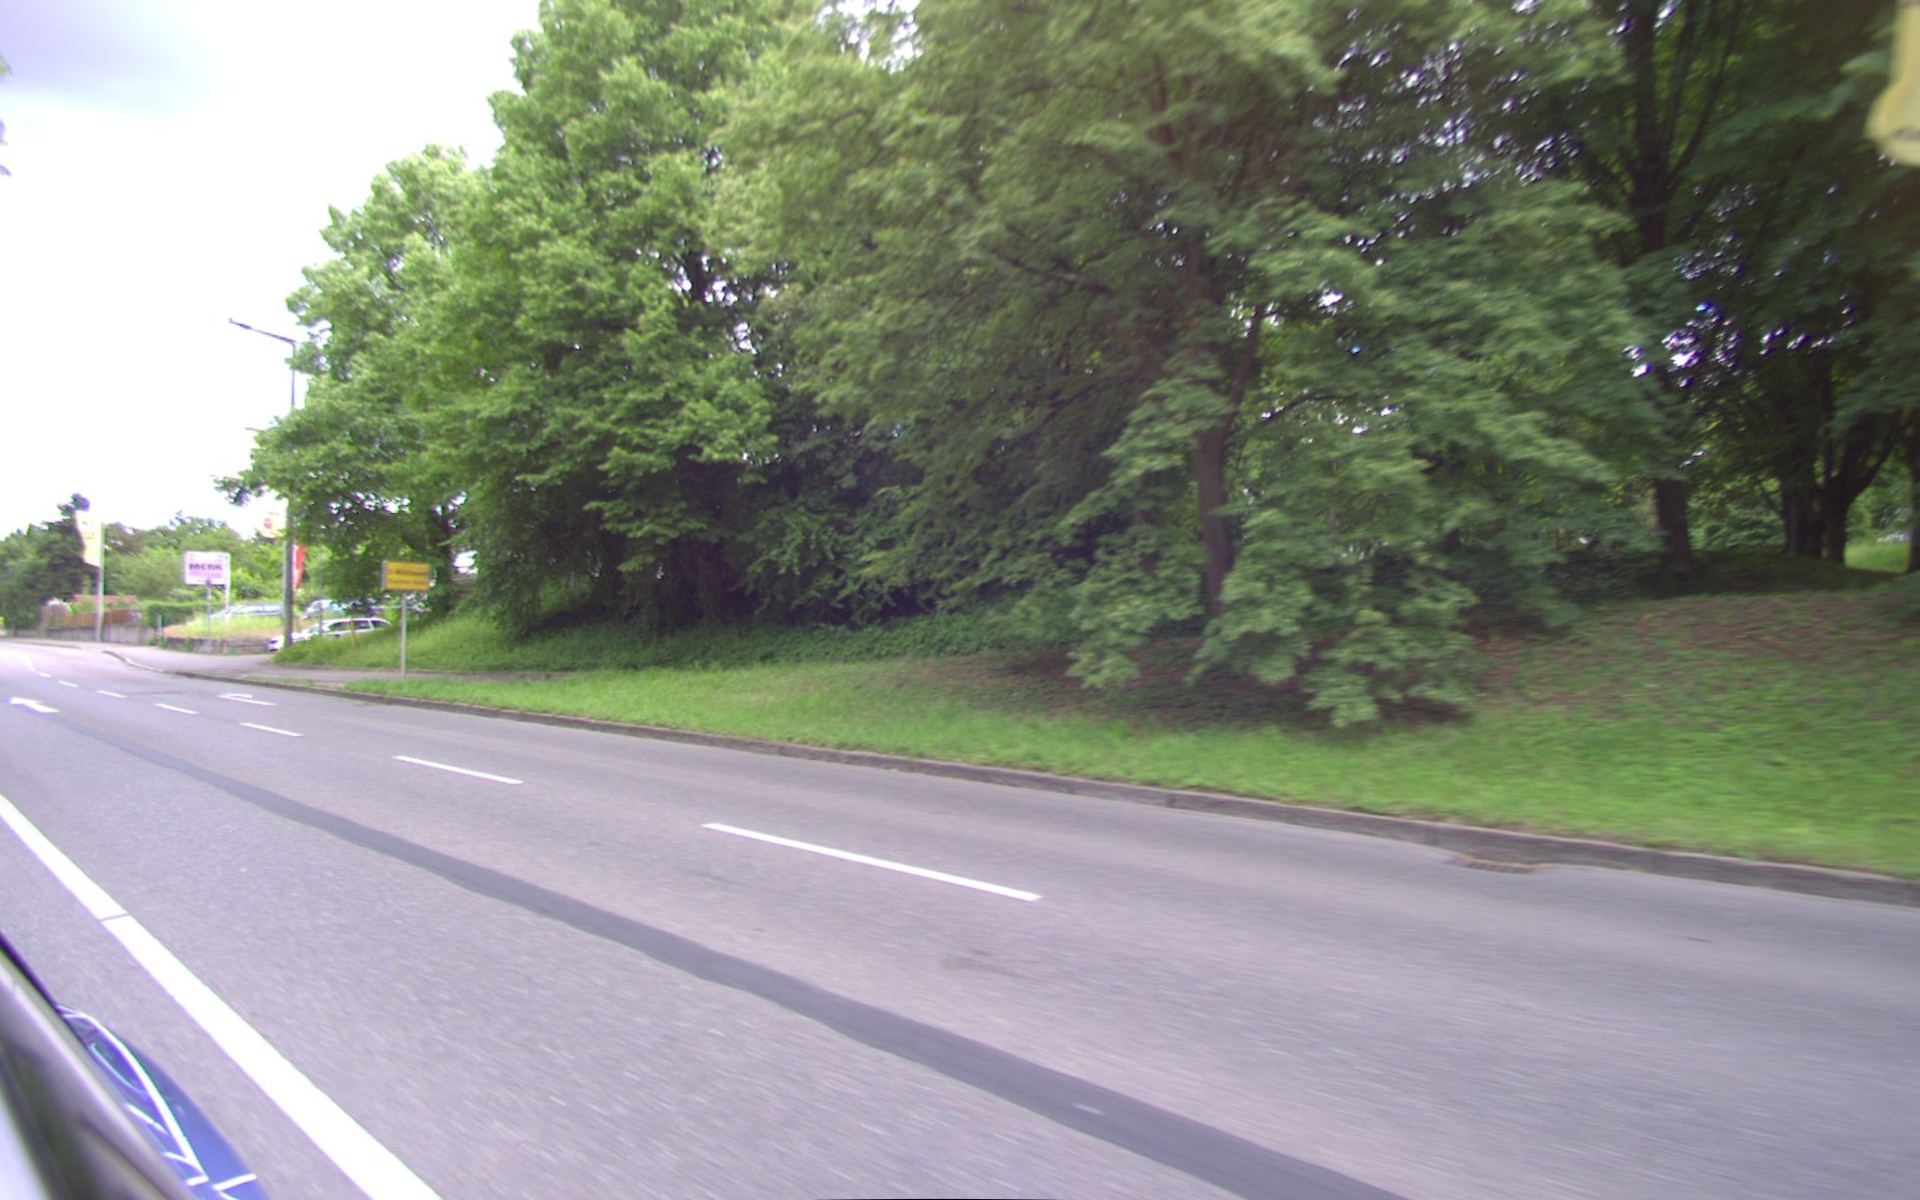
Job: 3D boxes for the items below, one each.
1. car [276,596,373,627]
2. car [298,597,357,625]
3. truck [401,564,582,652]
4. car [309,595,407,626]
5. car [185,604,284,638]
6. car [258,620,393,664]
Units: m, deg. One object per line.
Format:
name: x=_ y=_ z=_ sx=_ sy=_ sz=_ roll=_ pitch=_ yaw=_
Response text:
car: x=-32.955 y=0.562 z=52.522 sx=1.734 sy=1.519 sz=3.946 roll=-1 pitch=0 yaw=40
car: x=-35.249 y=0.605 z=56.369 sx=3.998 sy=1.519 sz=1.711 roll=-1 pitch=0 yaw=41
truck: x=-20.819 y=0.305 z=45.307 sx=2.656 sy=3.657 sz=6.835 roll=-1 pitch=0 yaw=40
car: x=-30.701 y=0.523 z=51.666 sx=1.734 sy=1.519 sz=3.946 roll=-1 pitch=0 yaw=40
car: x=-37.586 y=1.072 z=52.517 sx=1.878 sy=1.630 sz=3.855 roll=-1 pitch=0 yaw=41
car: x=-25.021 y=1.641 z=40.002 sx=1.746 sy=1.503 sz=4.169 roll=-4 pitch=-2 yaw=37
